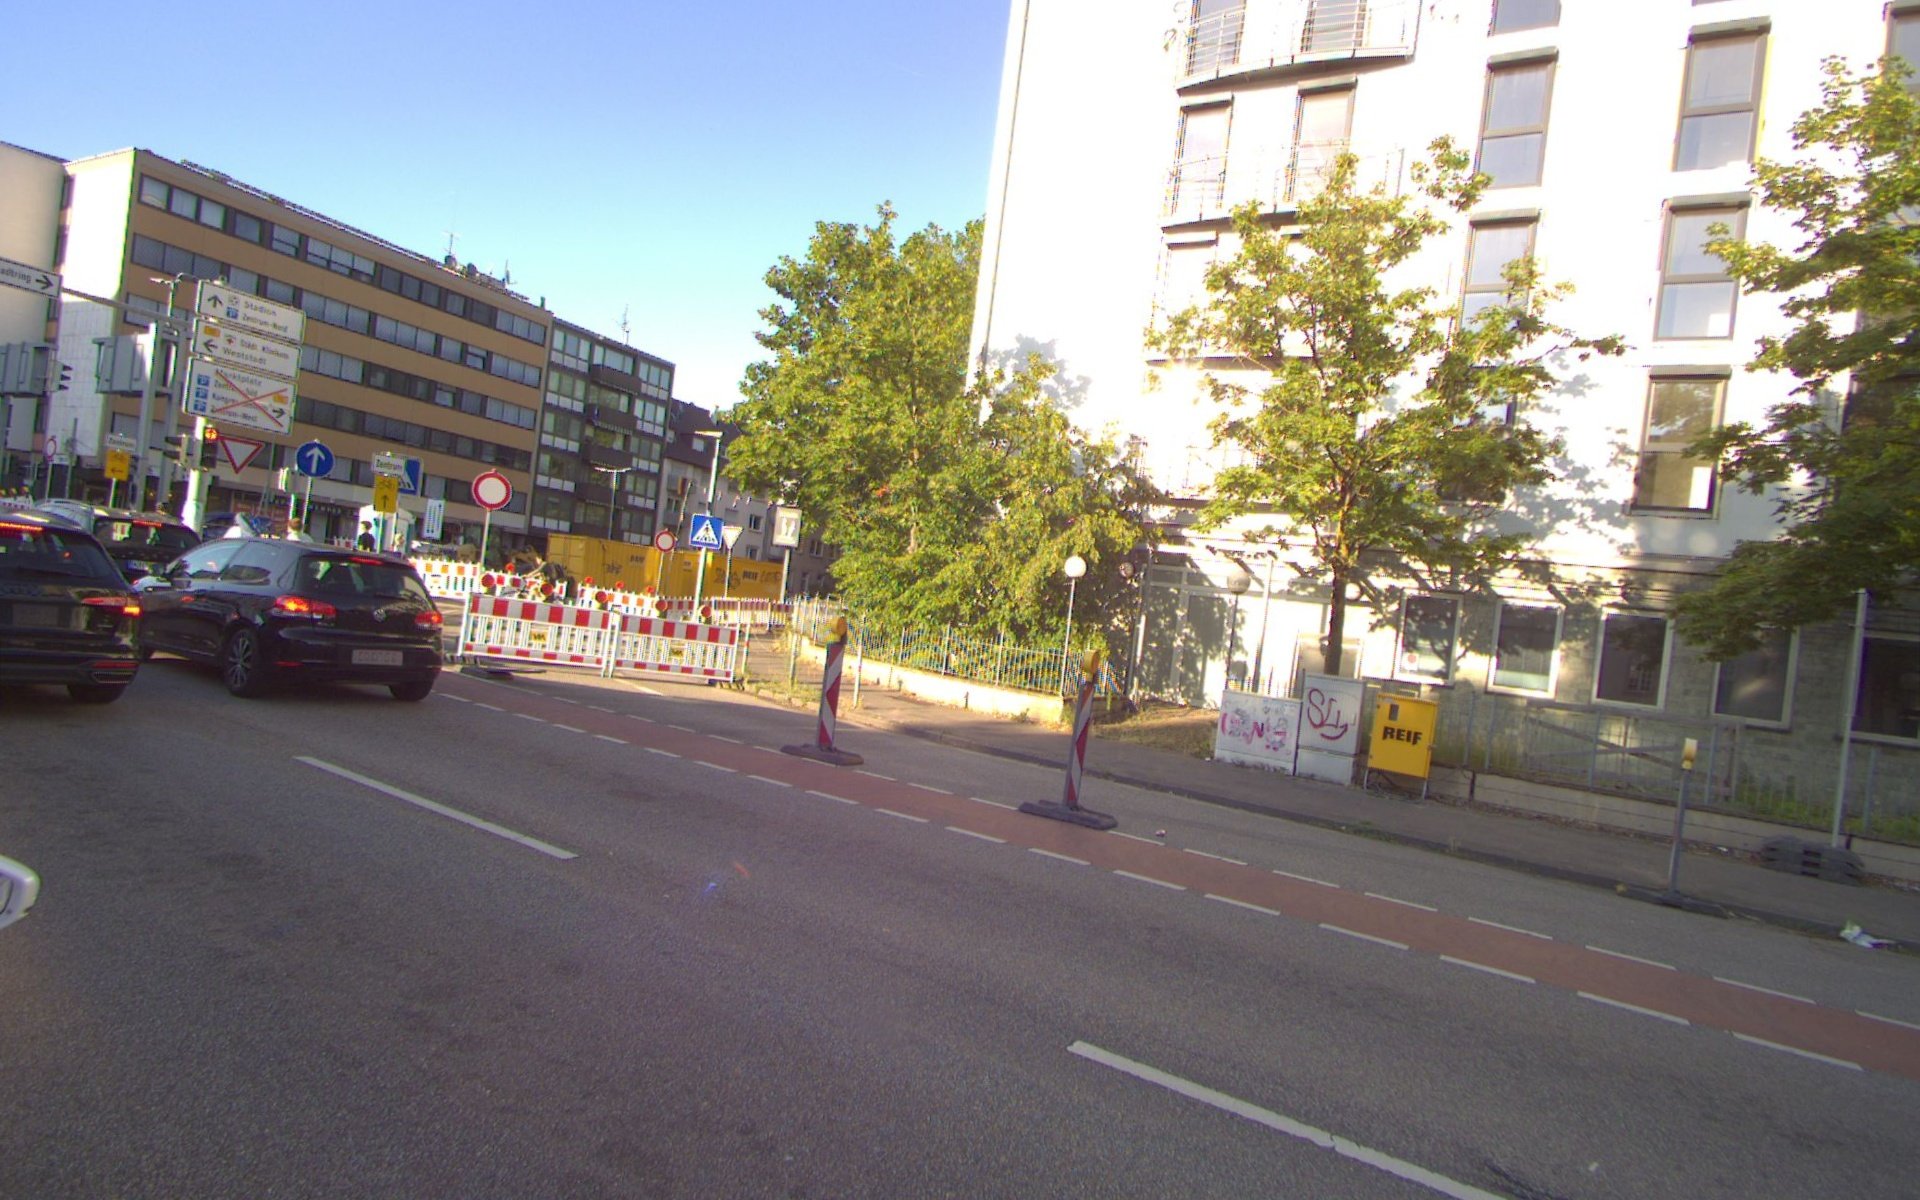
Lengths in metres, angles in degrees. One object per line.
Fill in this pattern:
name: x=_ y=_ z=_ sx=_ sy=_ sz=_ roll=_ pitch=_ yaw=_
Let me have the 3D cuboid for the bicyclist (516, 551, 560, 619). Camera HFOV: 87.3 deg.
bicyclist: x=-10.702 y=-0.378 z=25.527 sx=0.805 sy=1.607 sz=0.616 roll=9 pitch=0 yaw=-26

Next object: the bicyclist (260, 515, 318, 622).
bicyclist: x=-10.193 y=-0.475 z=15.280 sx=0.474 sy=1.544 sz=0.441 roll=7 pitch=0 yaw=31

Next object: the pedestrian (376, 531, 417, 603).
pedestrian: x=-14.020 y=-0.817 z=25.049 sx=0.446 sy=1.691 sz=0.604 roll=7 pitch=0 yaw=12

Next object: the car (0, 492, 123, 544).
car: x=-33.130 y=-3.006 z=36.629 sx=1.667 sy=1.405 sz=3.682 roll=7 pitch=0 yaw=26

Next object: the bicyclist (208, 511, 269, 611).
bicyclist: x=-11.884 y=-0.644 z=16.569 sx=0.713 sy=1.544 sz=0.441 roll=7 pitch=0 yaw=32

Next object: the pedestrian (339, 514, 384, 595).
pedestrian: x=-14.341 y=-1.078 z=24.109 sx=0.478 sy=1.857 sz=0.571 roll=7 pitch=0 yaw=16

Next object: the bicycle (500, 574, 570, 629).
bicycle: x=-10.765 y=0.034 z=25.503 sx=1.482 sy=1.174 sz=0.371 roll=9 pitch=-1 yaw=-25

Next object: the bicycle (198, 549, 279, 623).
bicycle: x=-11.866 y=-0.250 z=16.524 sx=1.825 sy=1.020 sz=0.337 roll=7 pitch=0 yaw=32

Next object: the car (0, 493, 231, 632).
car: x=-11.548 y=-0.521 z=13.601 sx=3.250 sy=1.467 sz=1.507 roll=7 pitch=0 yaw=32

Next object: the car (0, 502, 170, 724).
car: x=-7.997 y=-0.113 z=7.657 sx=4.144 sy=1.437 sz=1.685 roll=7 pitch=-2 yaw=32

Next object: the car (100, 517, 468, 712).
car: x=-6.990 y=0.123 z=10.334 sx=3.683 sy=1.466 sz=1.637 roll=7 pitch=-2 yaw=32

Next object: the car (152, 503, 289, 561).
car: x=-31.790 y=-2.877 z=43.367 sx=1.964 sy=1.839 sz=4.227 roll=7 pitch=-1 yaw=25

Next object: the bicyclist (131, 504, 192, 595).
bicyclist: x=-14.338 y=-0.906 z=18.067 sx=0.713 sy=1.544 sz=0.514 roll=7 pitch=0 yaw=32
